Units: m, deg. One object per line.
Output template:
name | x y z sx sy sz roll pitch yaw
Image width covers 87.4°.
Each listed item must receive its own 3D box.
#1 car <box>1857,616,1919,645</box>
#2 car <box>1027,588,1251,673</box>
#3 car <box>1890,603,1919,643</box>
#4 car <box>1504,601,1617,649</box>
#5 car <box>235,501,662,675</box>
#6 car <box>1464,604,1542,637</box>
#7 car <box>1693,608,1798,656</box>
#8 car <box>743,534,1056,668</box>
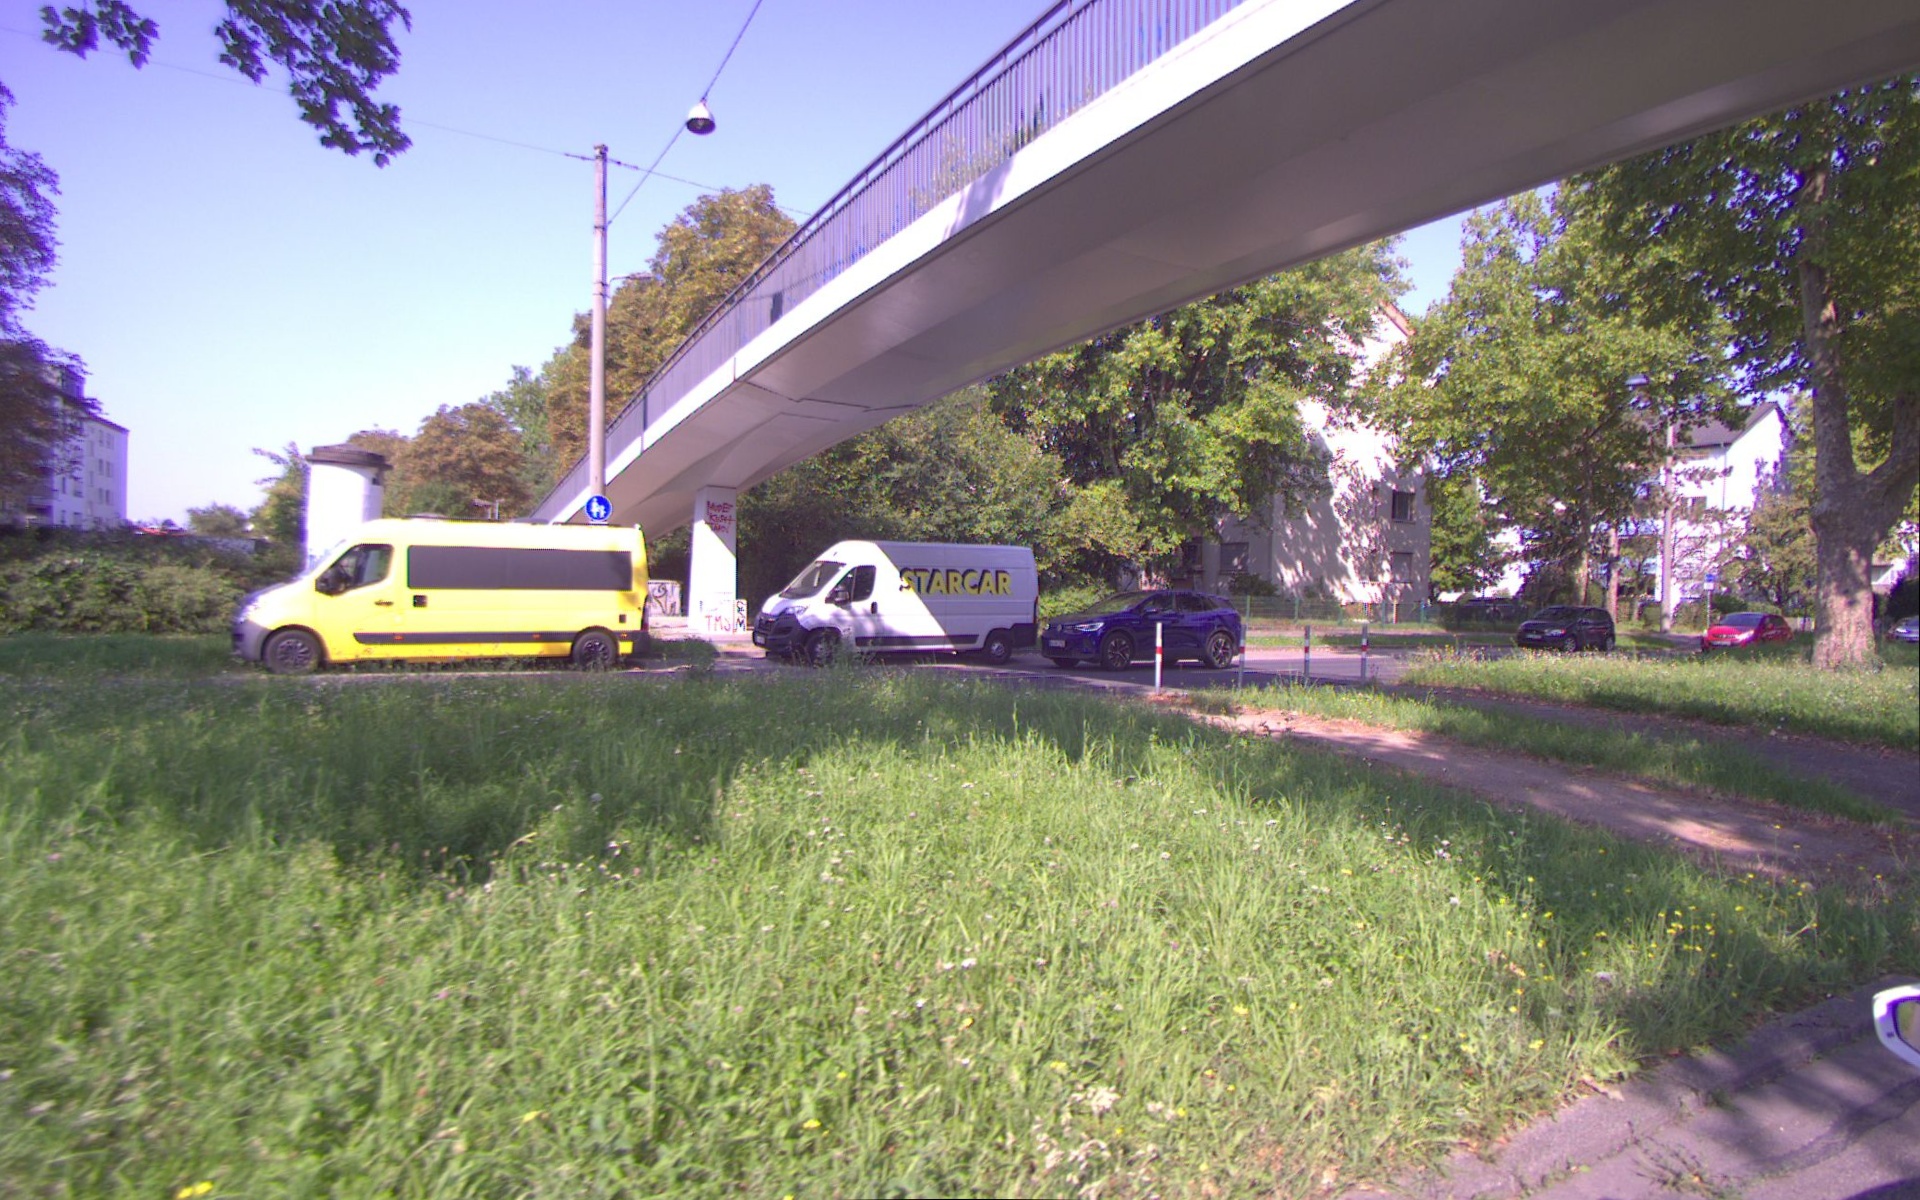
car | 50.283 1.667 54.343 4.019 1.471 1.530 2 1 -32
car | 3.716 0.612 20.614 4.404 1.553 1.778 2 1 -31
car | 44.263 1.042 45.631 4.667 1.743 1.792 1 0 -32
car | 20.579 0.862 34.421 3.813 1.553 1.517 1 1 -27
car | -8.329 -0.124 16.924 5.985 2.512 2.198 2 1 -28
car | 32.899 1.204 60.973 3.923 1.795 1.999 2 1 23
car | 27.742 1.105 35.454 4.026 1.553 1.681 1 1 -33
car | -1.183 0.027 21.103 6.192 2.463 2.196 2 3 -31
